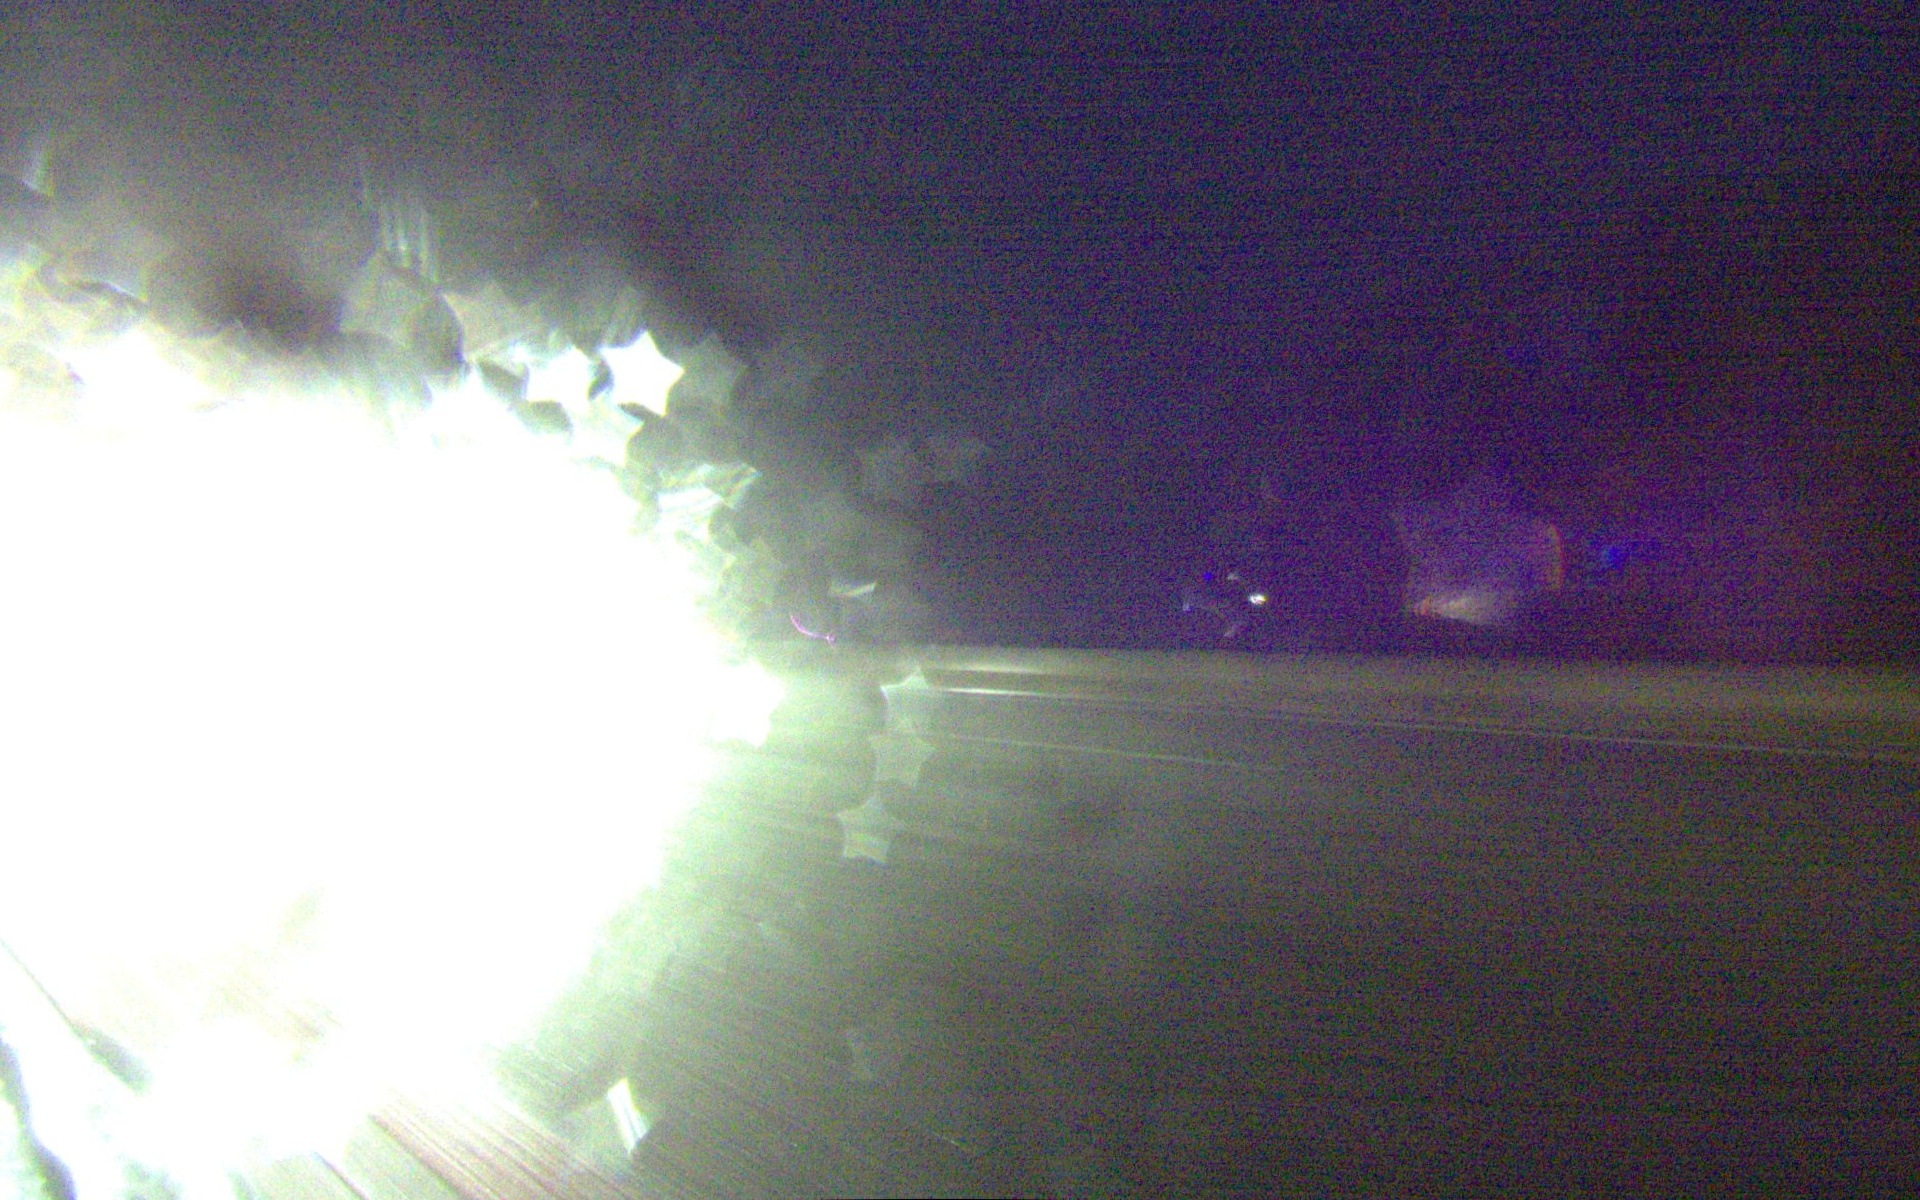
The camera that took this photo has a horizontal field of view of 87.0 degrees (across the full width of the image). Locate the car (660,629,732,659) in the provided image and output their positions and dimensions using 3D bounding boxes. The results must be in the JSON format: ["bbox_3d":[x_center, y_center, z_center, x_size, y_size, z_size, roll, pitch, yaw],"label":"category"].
[{"bbox_3d":[-13.678,2.242,52.320,3.930,1.457,1.625,-1,0,41],"label":"car"}]

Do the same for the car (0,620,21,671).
[{"bbox_3d":[-34.101,1.586,34.977,4.913,1.677,1.935,-2,-1,41],"label":"car"}]

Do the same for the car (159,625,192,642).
[{"bbox_3d":[-85.888,3.661,110.788,4.344,1.685,1.973,-1,0,41],"label":"car"}]

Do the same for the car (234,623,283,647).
[{"bbox_3d":[-44.864,2.222,64.694,3.955,1.441,1.597,-1,0,41],"label":"car"}]

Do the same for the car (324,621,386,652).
[{"bbox_3d":[-31.405,1.880,52.489,3.813,1.515,1.661,-1,0,41],"label":"car"}]

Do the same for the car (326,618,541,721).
[{"bbox_3d":[-8.673,1.064,16.515,4.243,1.442,1.639,-2,-1,41],"label":"car"}]

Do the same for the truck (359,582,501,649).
[{"bbox_3d":[-40.257,1.175,76.205,17.591,4.593,3.374,-1,0,41],"label":"truck"}]

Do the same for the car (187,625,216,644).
[{"bbox_3d":[-76.121,3.419,101.509,3.910,1.818,1.613,-1,0,42],"label":"car"}]

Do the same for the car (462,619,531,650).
[{"bbox_3d":[-23.135,1.703,50.474,3.930,1.457,1.625,-1,0,41],"label":"car"}]
